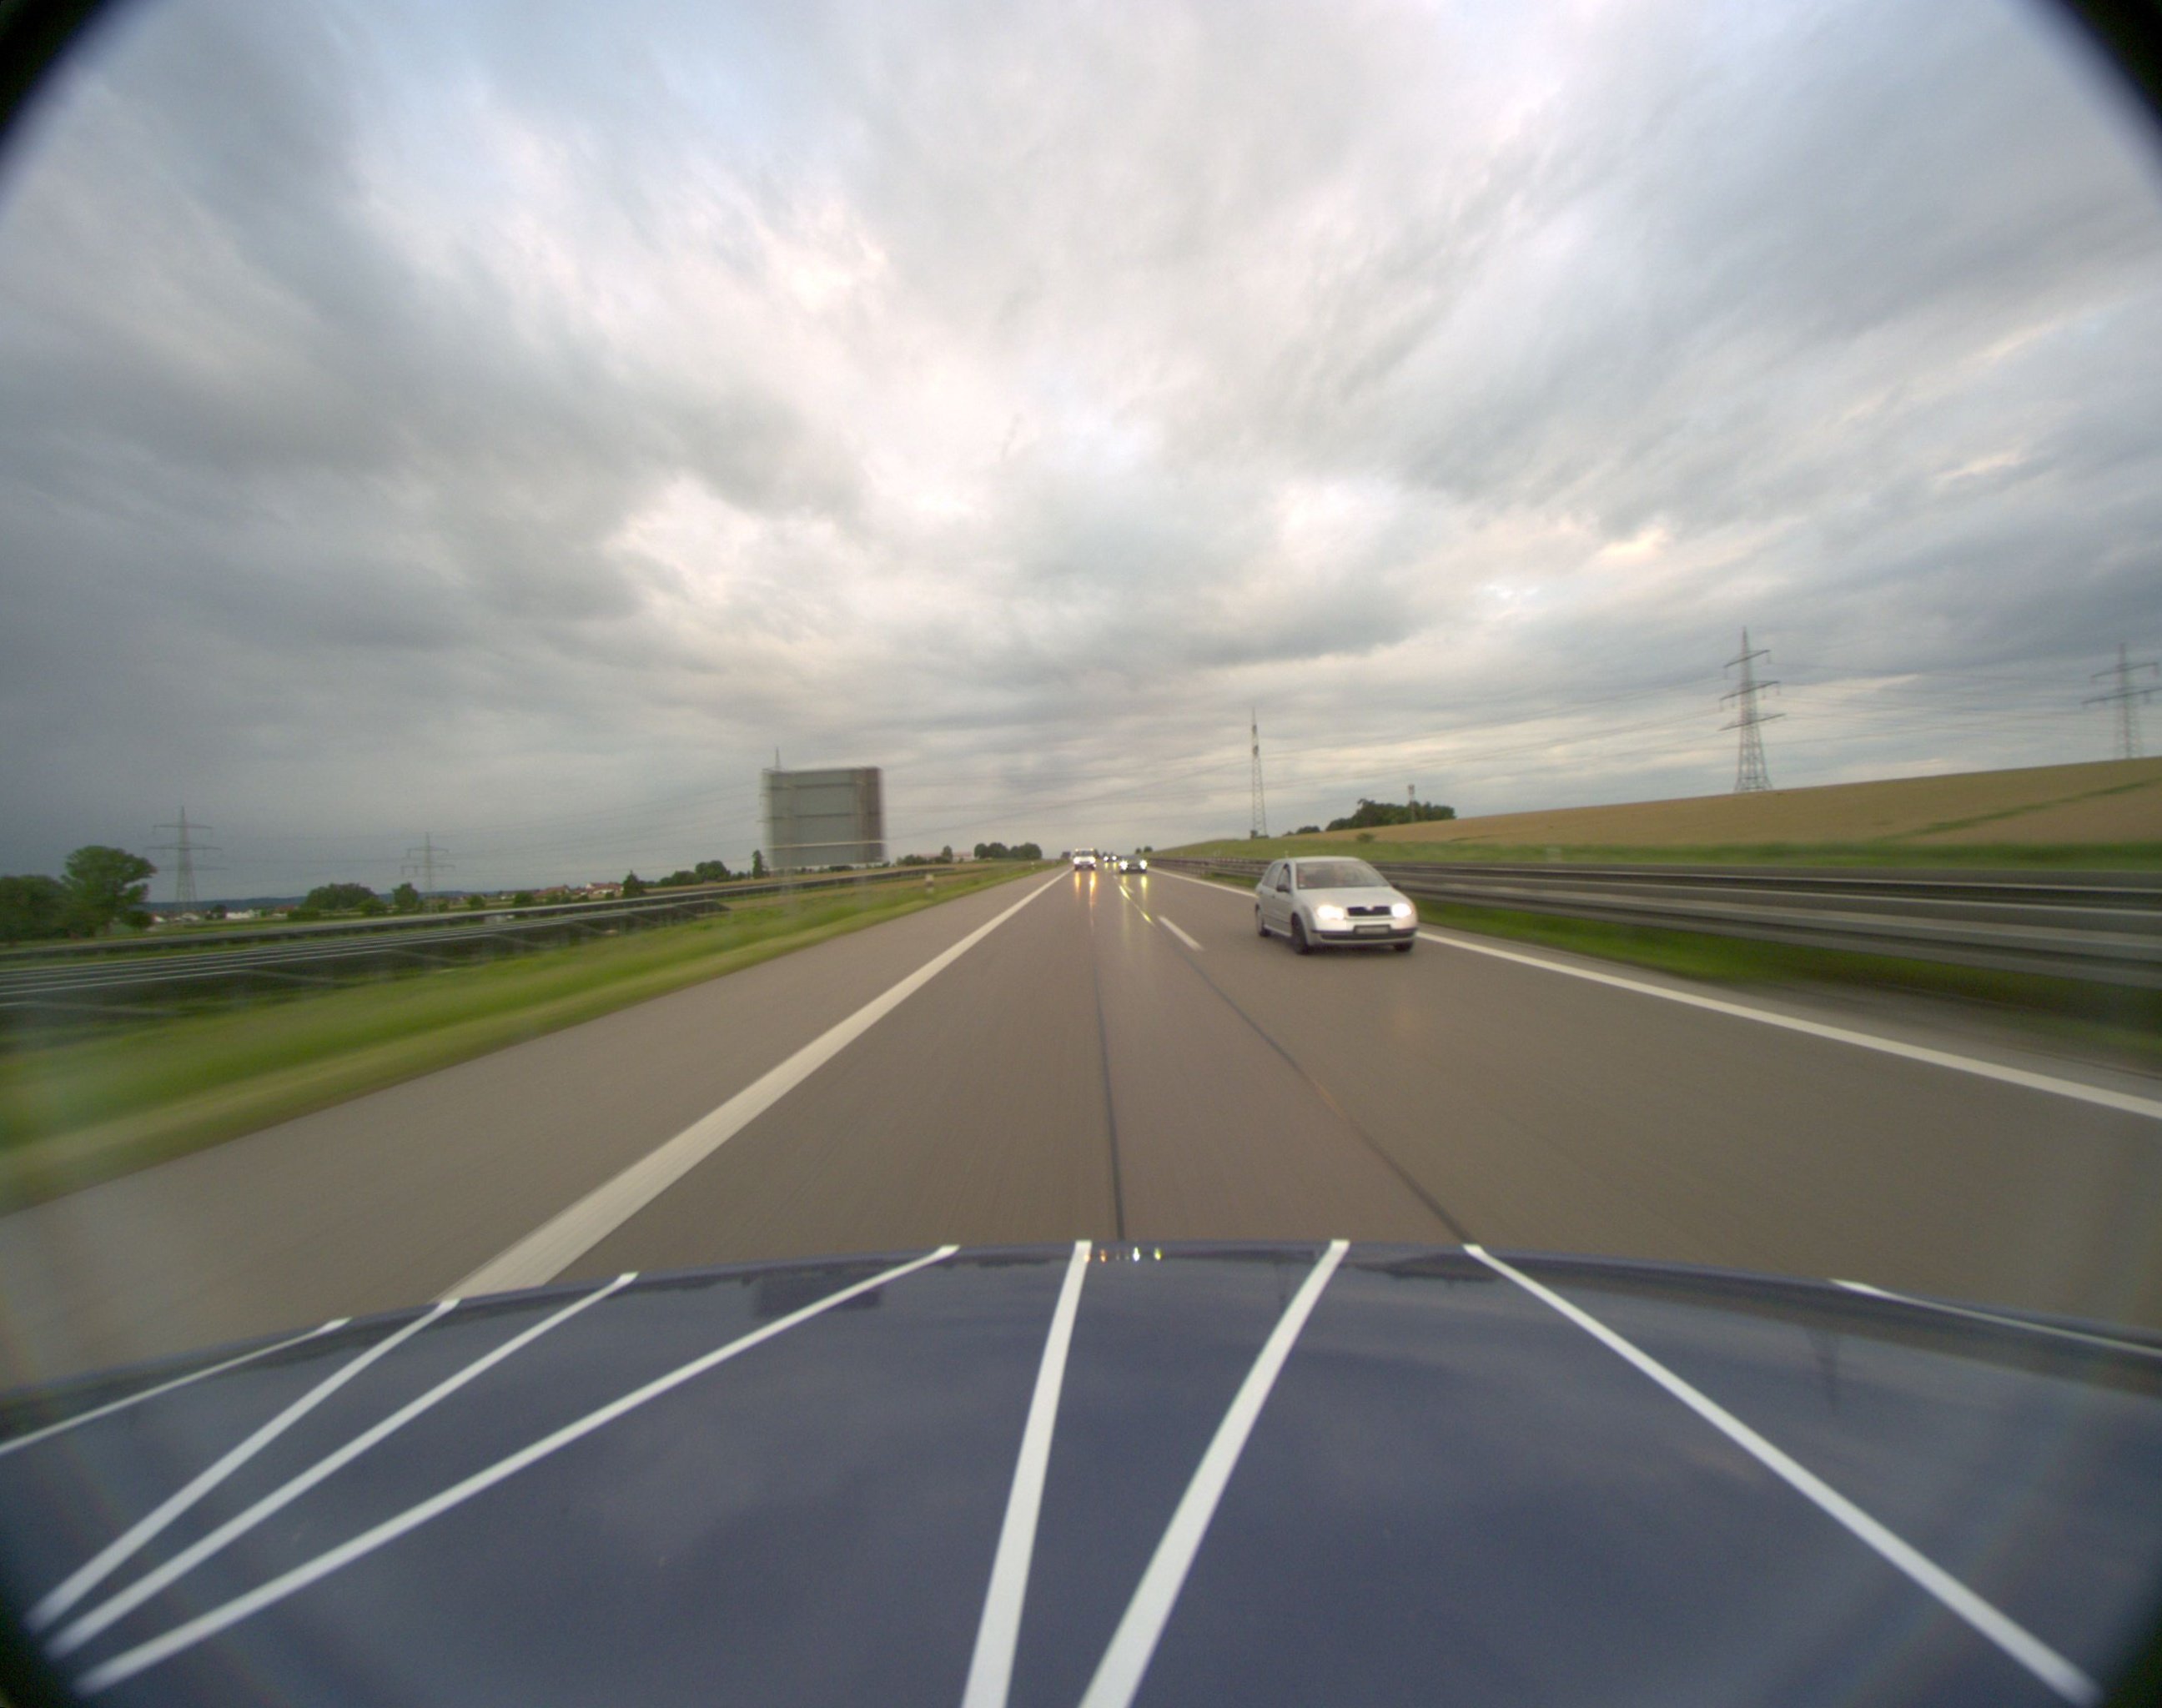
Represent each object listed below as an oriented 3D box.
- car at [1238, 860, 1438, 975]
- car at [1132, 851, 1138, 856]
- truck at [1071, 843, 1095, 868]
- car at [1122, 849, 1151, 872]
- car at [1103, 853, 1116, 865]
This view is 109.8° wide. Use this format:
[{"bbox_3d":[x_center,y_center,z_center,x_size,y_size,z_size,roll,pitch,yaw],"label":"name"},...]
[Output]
[{"bbox_3d":[3.820,0.844,12.179,1.592,1.381,4.601,-2,0,0],"label":"car"},{"bbox_3d":[18.355,-0.172,257.148,1.795,1.689,4.590,-5,0,1],"label":"car"},{"bbox_3d":[0.233,0.141,79.103,2.177,2.346,7.696,-5,0,0],"label":"truck"},{"bbox_3d":[4.312,0.470,59.770,1.951,1.620,4.536,-3,0,1],"label":"car"},{"bbox_3d":[5.296,0.995,141.185,1.999,2.002,4.461,-5,0,-1],"label":"car"}]
